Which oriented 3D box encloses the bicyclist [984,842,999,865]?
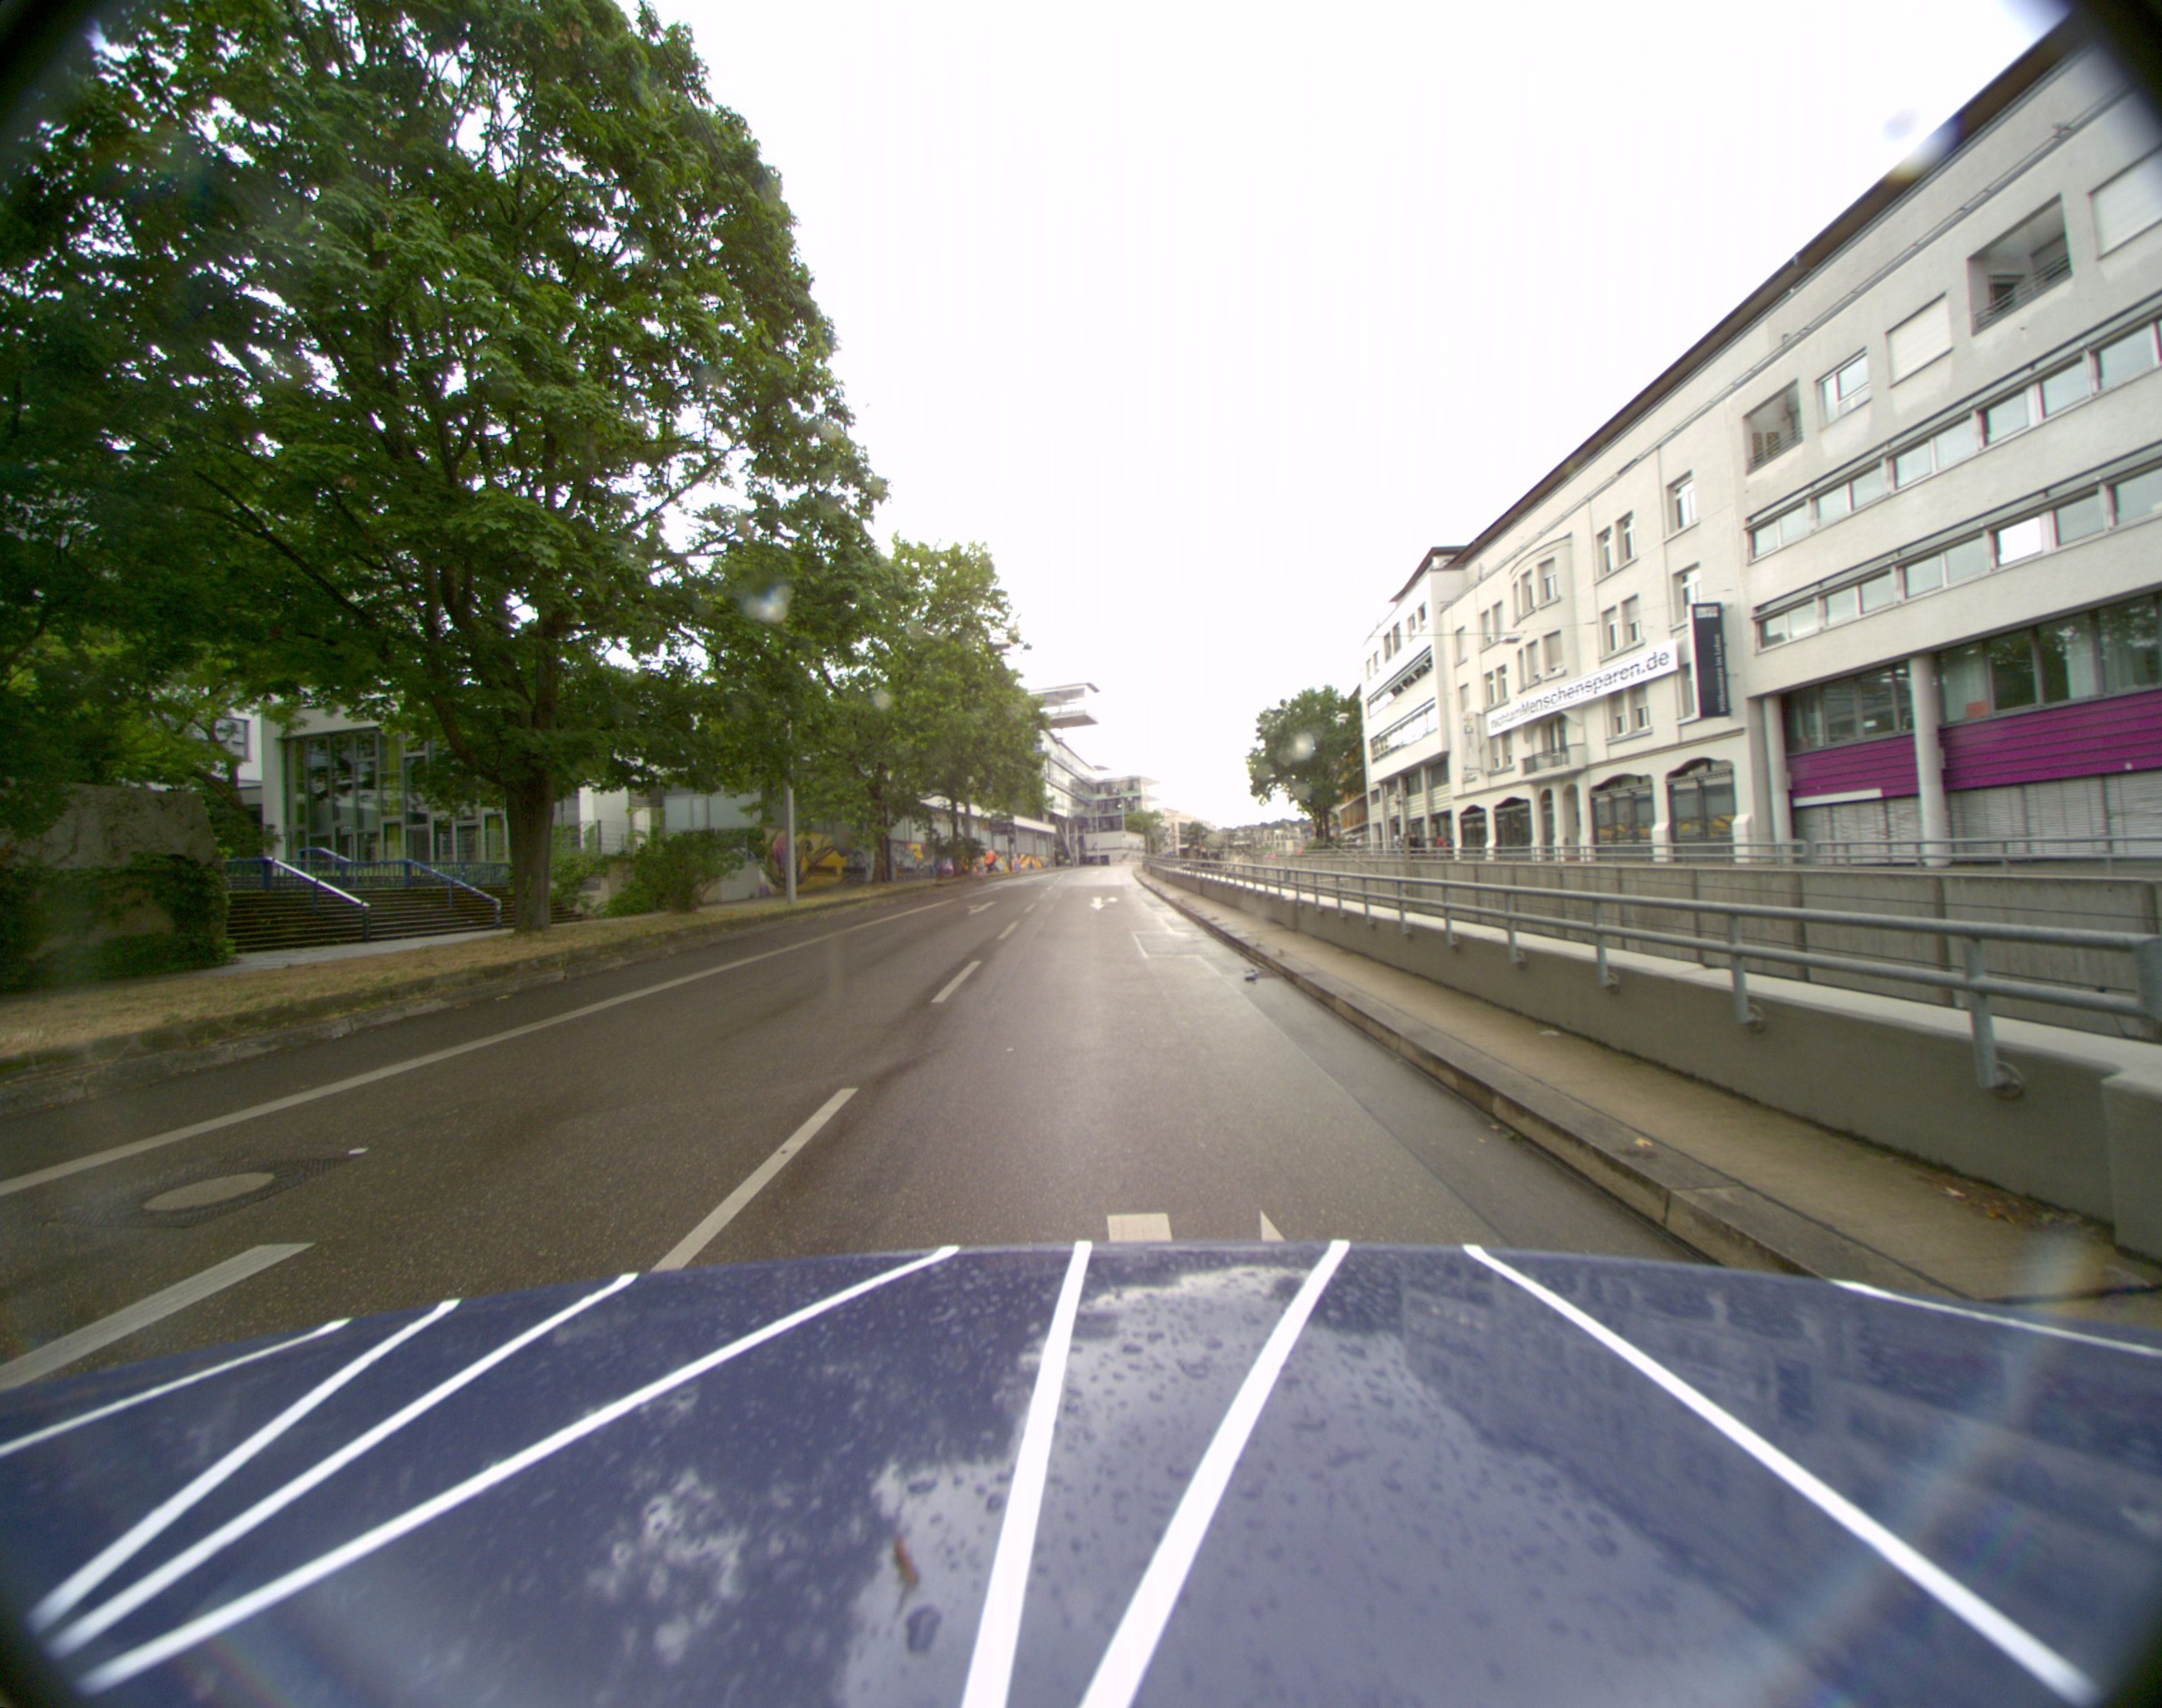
[{"bbox_3d":[-6.650,-0.037,56.533,0.808,1.618,1.047,-2,1,8],"label":"bicyclist"}]

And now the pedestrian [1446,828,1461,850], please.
[{"bbox_3d":[24.554,-1.000,50.068,0.608,1.411,0.674,-3,0,6],"label":"pedestrian"}]

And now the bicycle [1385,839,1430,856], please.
[{"bbox_3d":[24.174,-0.524,56.378,1.696,1.037,4.522,-4,1,5],"label":"bicycle"}]

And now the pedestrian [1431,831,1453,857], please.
[{"bbox_3d":[22.523,-0.621,47.411,0.674,1.606,0.941,-3,0,-14],"label":"pedestrian"}]

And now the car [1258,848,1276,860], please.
[{"bbox_3d":[29.570,0.012,121.127,1.841,1.703,4.578,-3,0,3],"label":"car"}]

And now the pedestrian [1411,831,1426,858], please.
[{"bbox_3d":[22.398,-0.617,50.425,0.675,1.712,0.608,-3,0,-39],"label":"pedestrian"}]

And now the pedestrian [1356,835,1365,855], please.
[{"bbox_3d":[25.743,-0.827,69.939,0.666,1.838,0.831,-1,0,10],"label":"pedestrian"}]

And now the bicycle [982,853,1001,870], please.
[{"bbox_3d":[-6.638,0.546,56.458,0.808,1.105,2.199,-2,1,8],"label":"bicycle"}]

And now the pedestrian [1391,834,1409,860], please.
[{"bbox_3d":[21.397,-0.468,50.938,0.675,1.633,0.793,-3,0,-42],"label":"pedestrian"}]

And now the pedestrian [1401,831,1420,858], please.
[{"bbox_3d":[22.417,-0.628,51.628,0.674,1.774,0.941,-3,0,-14],"label":"pedestrian"}]
